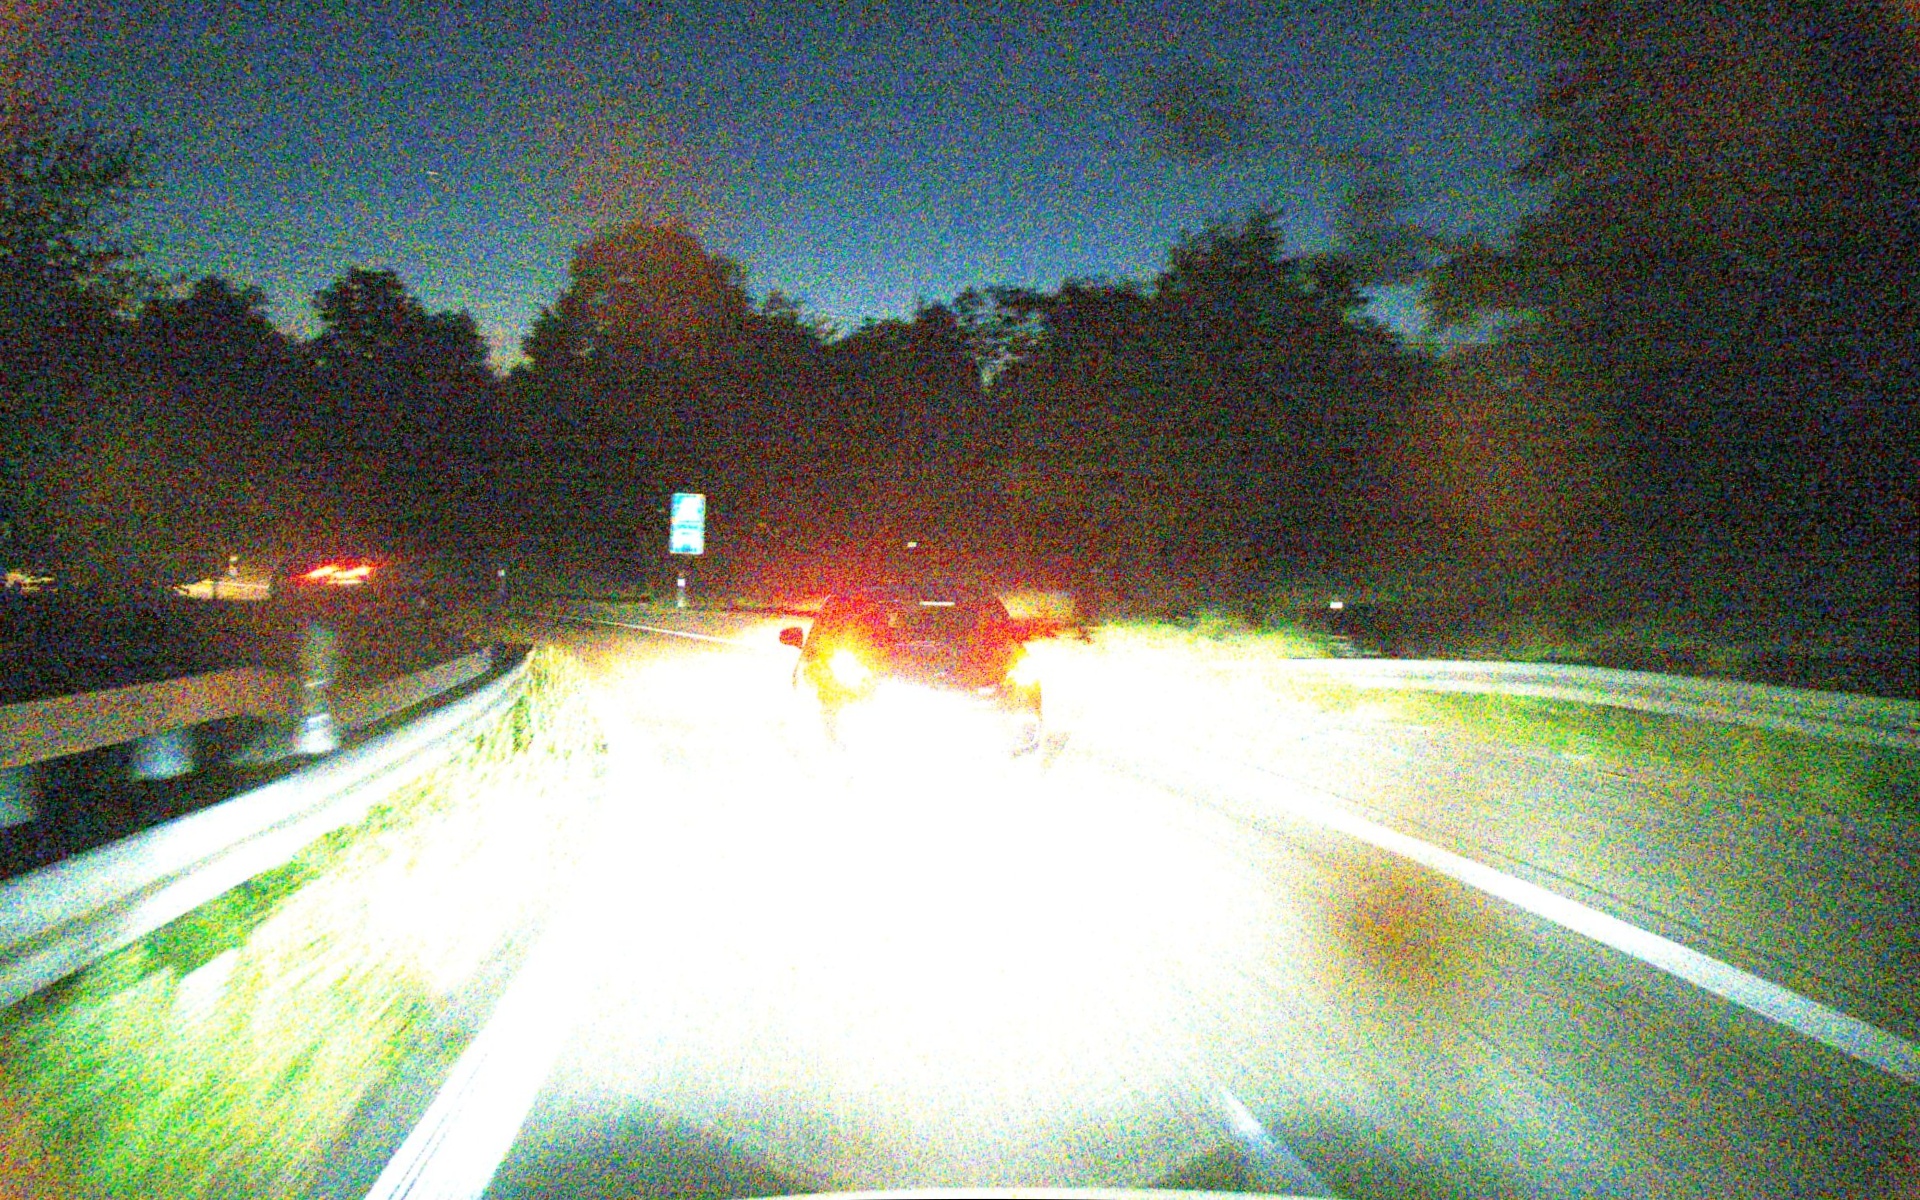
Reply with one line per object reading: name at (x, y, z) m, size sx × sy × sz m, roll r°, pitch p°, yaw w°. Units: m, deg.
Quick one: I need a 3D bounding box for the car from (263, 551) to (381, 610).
car at (-19.495, -0.629, 50.482) m, size 1.942 × 1.564 × 4.175 m, roll -4°, pitch 5°, yaw -43°

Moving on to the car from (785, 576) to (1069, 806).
car at (-0.421, 0.623, 13.099) m, size 1.660 × 1.504 × 3.990 m, roll -1°, pitch -1°, yaw -10°
